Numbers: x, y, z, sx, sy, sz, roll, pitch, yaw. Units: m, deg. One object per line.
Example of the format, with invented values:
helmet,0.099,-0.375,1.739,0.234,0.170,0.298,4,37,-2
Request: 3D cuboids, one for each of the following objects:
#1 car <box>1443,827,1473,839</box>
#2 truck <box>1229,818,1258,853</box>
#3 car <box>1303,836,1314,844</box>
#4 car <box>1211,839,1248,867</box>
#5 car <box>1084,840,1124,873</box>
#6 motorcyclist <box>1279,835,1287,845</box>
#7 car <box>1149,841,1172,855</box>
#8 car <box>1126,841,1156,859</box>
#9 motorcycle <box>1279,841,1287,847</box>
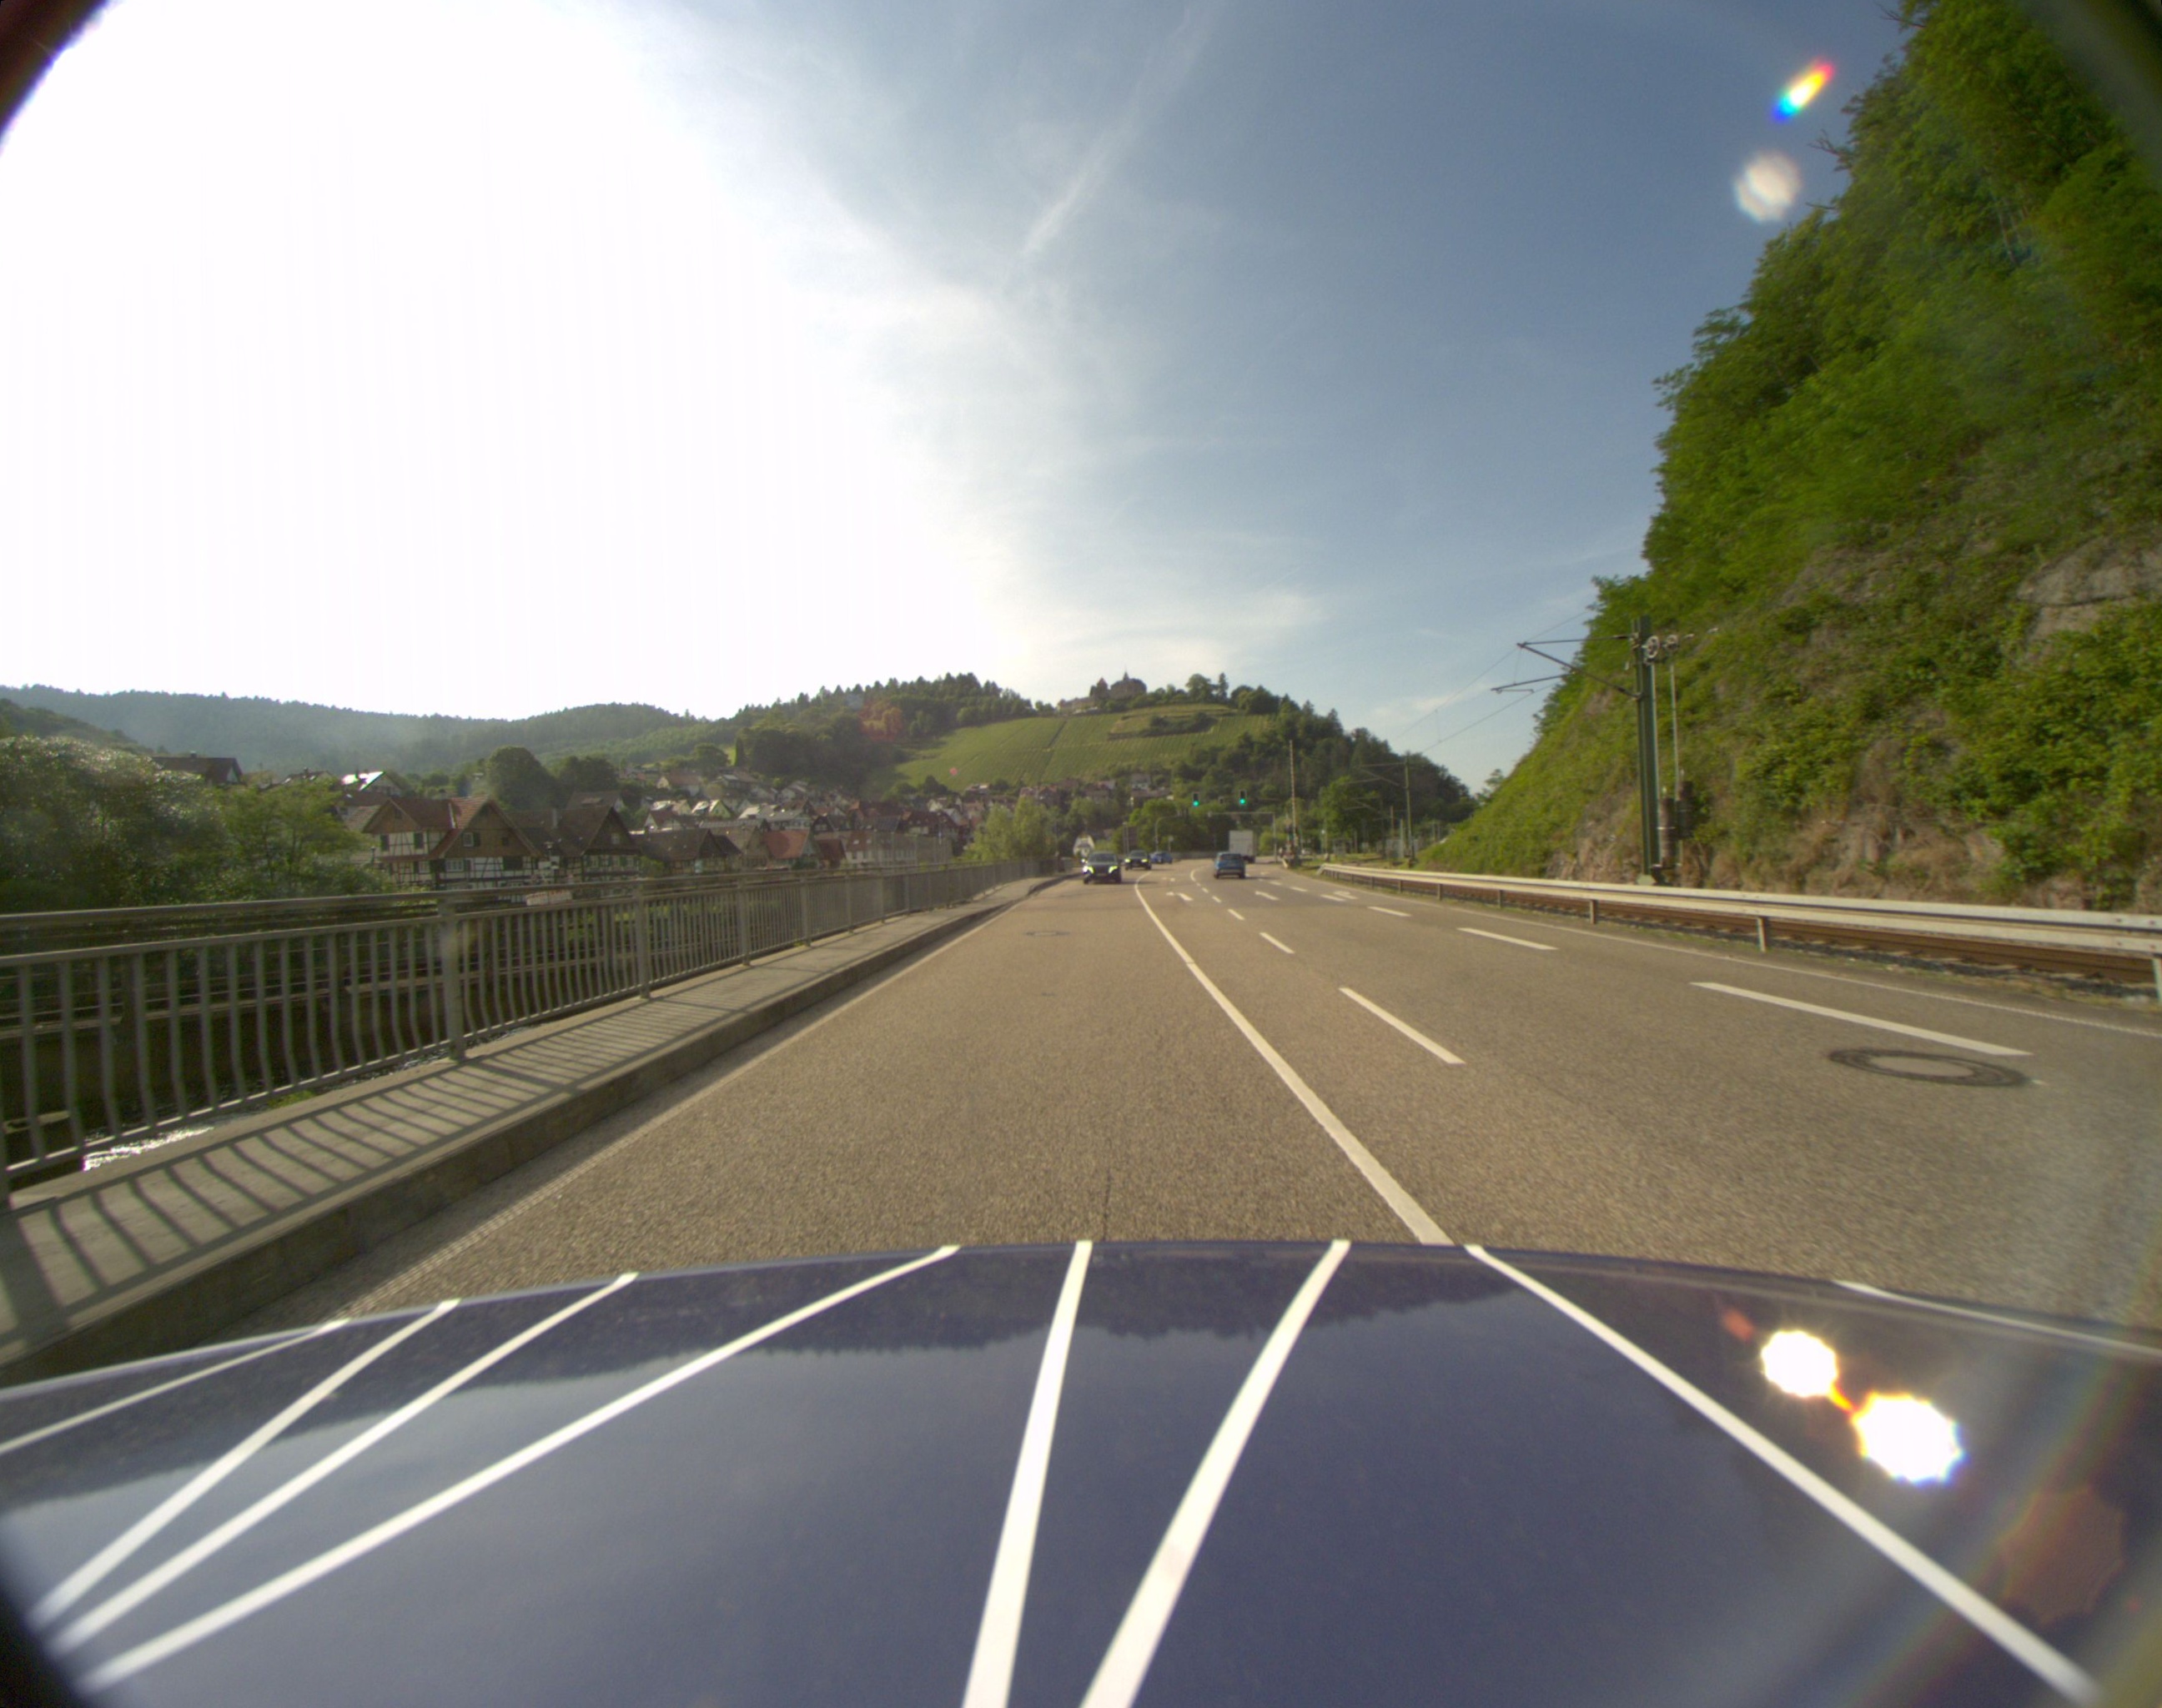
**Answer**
car,57.544,-3.200,116.074,3.989,1.740,1.643,-1,1,31
truck,19.199,-2.145,89.392,2.901,3.777,8.903,-2,0,15
car,46.592,-2.890,155.470,1.694,1.647,4.177,-1,0,23
car,8.811,-0.073,45.384,1.722,1.561,4.136,-2,0,6
car,1.269,0.112,39.709,1.862,1.576,4.001,-2,0,4
motorcyclist,33.342,-2.303,125.593,1.006,1.705,0.867,-1,1,30
car,9.202,-0.708,87.556,1.865,1.483,4.004,-2,0,16
car,5.090,-0.331,64.041,1.997,1.384,4.003,-2,0,11
motorcycle,33.433,-1.709,125.570,0.825,0.949,2.221,-1,0,28
